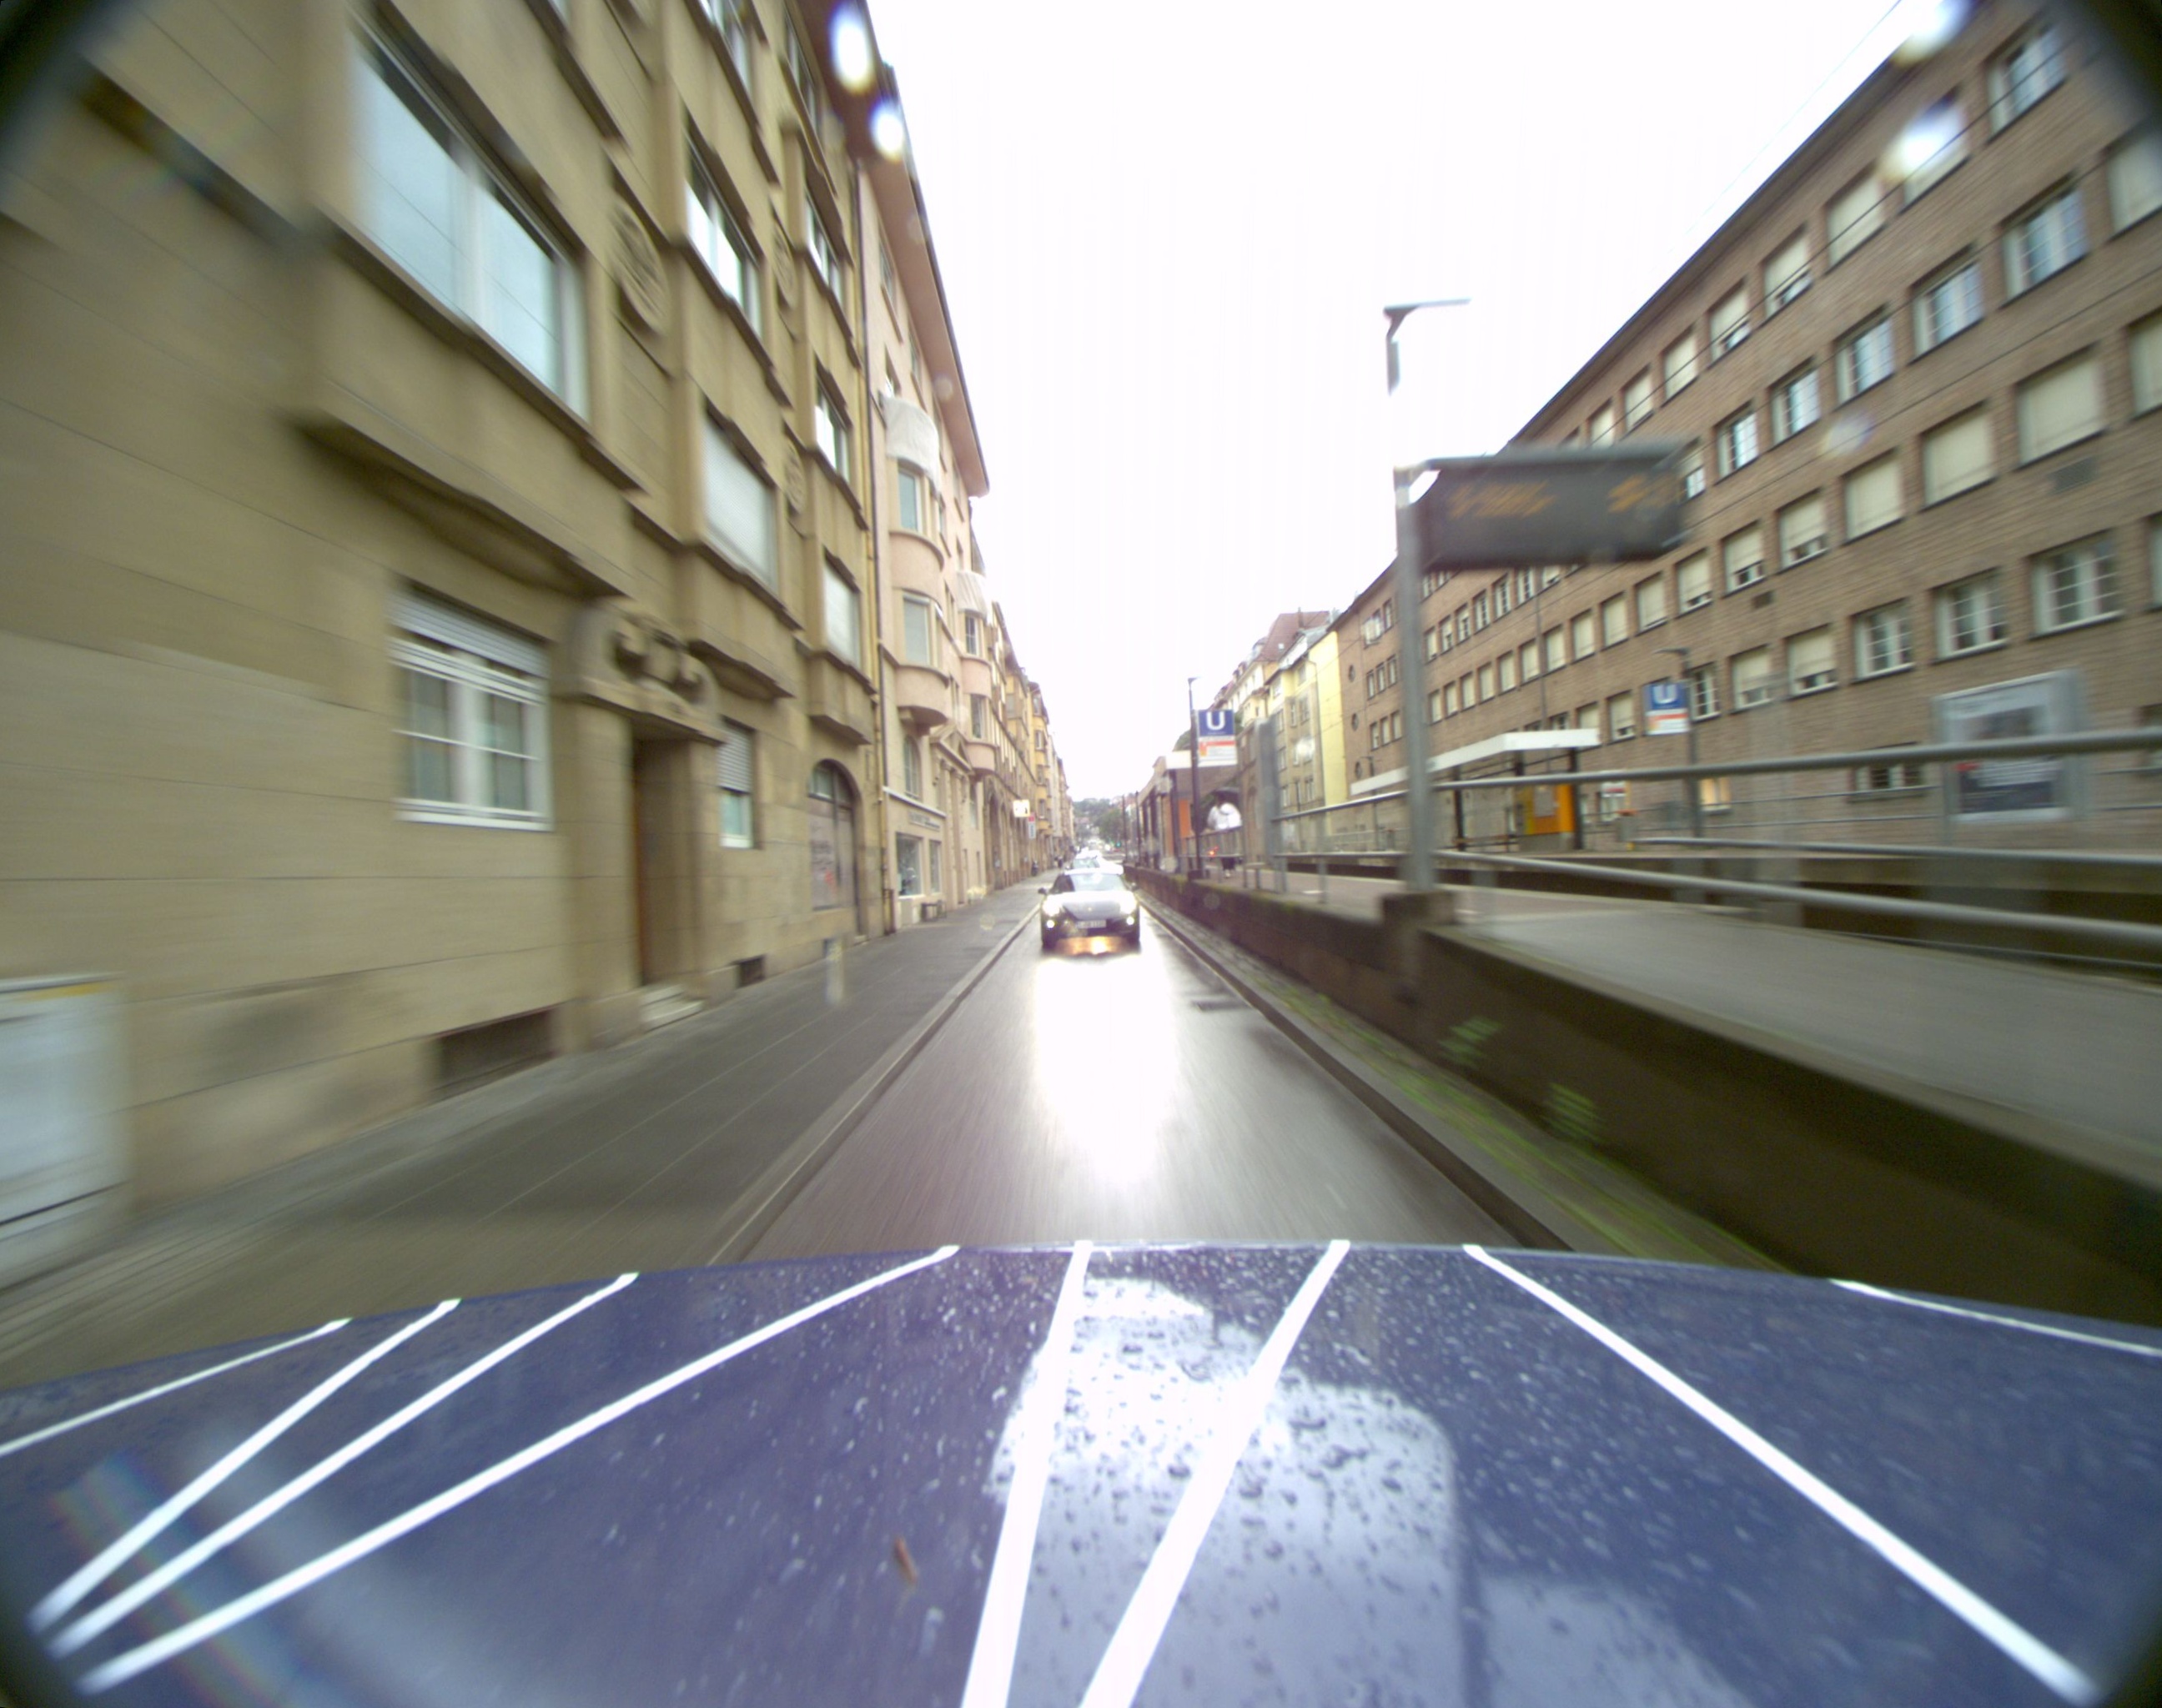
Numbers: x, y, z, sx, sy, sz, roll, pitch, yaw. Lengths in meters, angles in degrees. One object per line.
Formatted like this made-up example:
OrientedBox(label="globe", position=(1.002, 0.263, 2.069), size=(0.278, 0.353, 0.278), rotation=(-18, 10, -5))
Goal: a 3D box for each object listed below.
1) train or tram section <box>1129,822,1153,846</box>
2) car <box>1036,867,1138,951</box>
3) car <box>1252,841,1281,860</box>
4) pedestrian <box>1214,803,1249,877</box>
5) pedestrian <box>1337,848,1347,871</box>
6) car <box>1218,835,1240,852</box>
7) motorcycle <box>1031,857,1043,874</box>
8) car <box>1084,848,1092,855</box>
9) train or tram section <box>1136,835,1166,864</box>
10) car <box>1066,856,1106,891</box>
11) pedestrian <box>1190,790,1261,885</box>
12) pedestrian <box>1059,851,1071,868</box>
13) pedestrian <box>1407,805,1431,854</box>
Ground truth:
OrientedBox(label="train or tram section", position=(10.330, -3.335, 132.904), size=(2.721, 3.898, 19.295), rotation=(-3, 1, 0))
OrientedBox(label="car", position=(0.186, 0.998, 15.282), size=(1.704, 1.280, 4.196), rotation=(-3, 0, 2))
OrientedBox(label="car", position=(15.441, -0.289, 63.314), size=(1.648, 1.458, 3.111), rotation=(-3, 0, 2))
OrientedBox(label="pedestrian", position=(3.728, -0.351, 18.873), size=(0.645, 1.764, 0.710), rotation=(-3, 1, 1))
OrientedBox(label="pedestrian", position=(18.541, 0.409, 53.989), size=(0.550, 1.644, 0.542), rotation=(0, 1, 2))
OrientedBox(label="car", position=(16.467, -1.141, 84.652), size=(1.648, 1.696, 4.098), rotation=(-3, 0, 0))
OrientedBox(label="motorcycle", position=(-3.348, 0.841, 58.129), size=(0.692, 1.230, 1.779), rotation=(3, 0, 1))
OrientedBox(label="car", position=(1.876, -0.750, 203.720), size=(1.998, 1.761, 4.000), rotation=(-3, 1, 3))
OrientedBox(label="train or tram section", position=(10.365, -0.712, 114.746), size=(2.721, 3.898, 19.859), rotation=(-3, 1, 0))
OrientedBox(label="car", position=(0.257, 0.852, 34.895), size=(1.689, 1.451, 3.299), rotation=(-1, 0, 1))
OrientedBox(label="pedestrian", position=(2.875, -0.319, 15.249), size=(1.116, 1.764, 1.111), rotation=(-3, 1, 1))
OrientedBox(label="pedestrian", position=(-1.724, 0.568, 81.436), size=(1.125, 1.703, 1.102), rotation=(-3, 1, 2))
OrientedBox(label="pedestrian", position=(11.899, -0.849, 26.723), size=(0.588, 1.699, 0.491), rotation=(-2, 1, 0))
